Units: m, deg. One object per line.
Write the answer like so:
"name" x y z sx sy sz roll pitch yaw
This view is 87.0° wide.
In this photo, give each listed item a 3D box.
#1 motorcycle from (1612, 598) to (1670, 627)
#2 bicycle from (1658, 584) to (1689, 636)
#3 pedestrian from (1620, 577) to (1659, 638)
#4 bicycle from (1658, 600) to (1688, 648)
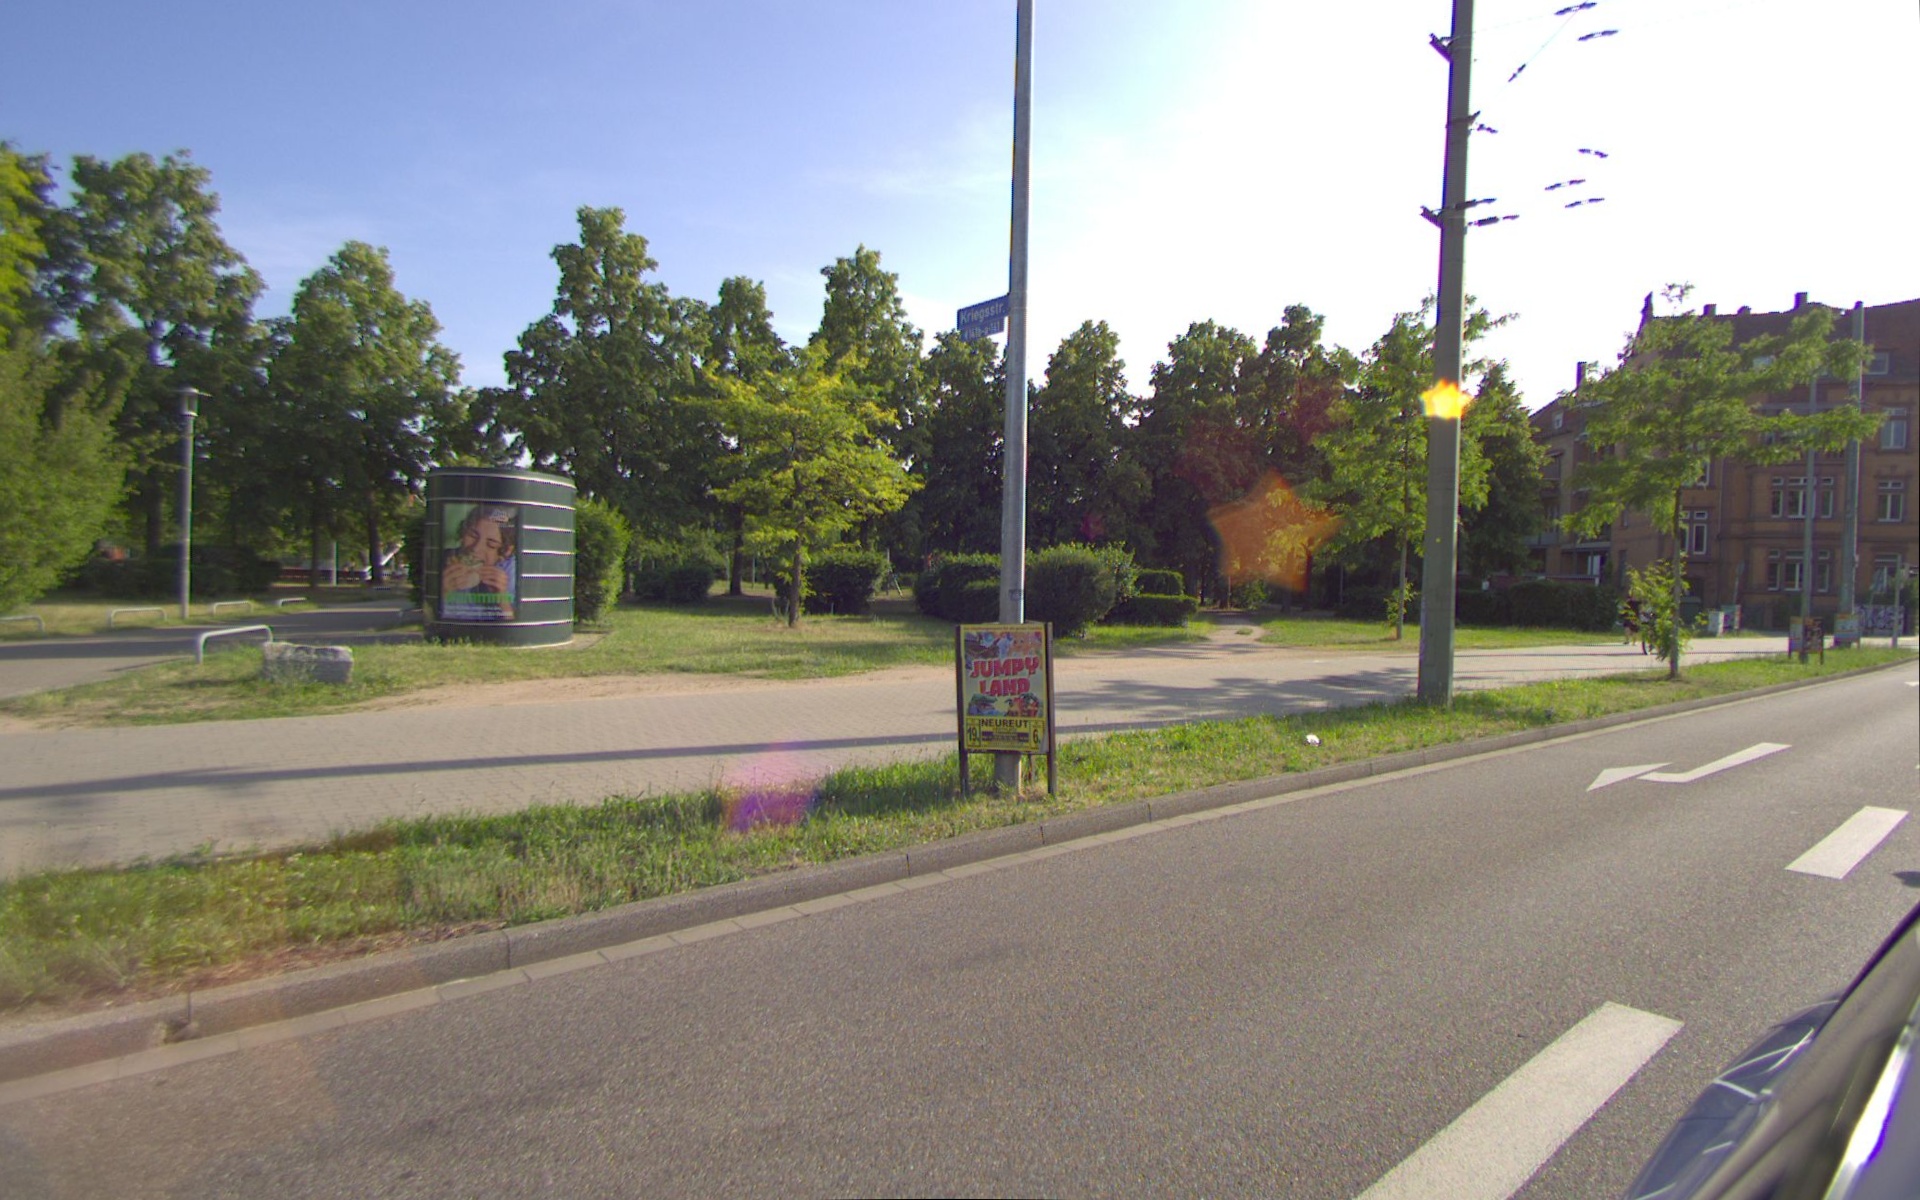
"motorcycle" 29.690 0.525 44.140 1.997 1.174 0.696 2 1 45
"bicycle" 18.378 0.250 26.079 0.570 1.314 0.681 1 0 29
"pedestrian" 19.923 0.212 29.675 0.538 1.711 0.617 1 6 -36
"bicycle" 18.341 0.606 26.034 0.480 1.205 1.325 1 0 30
